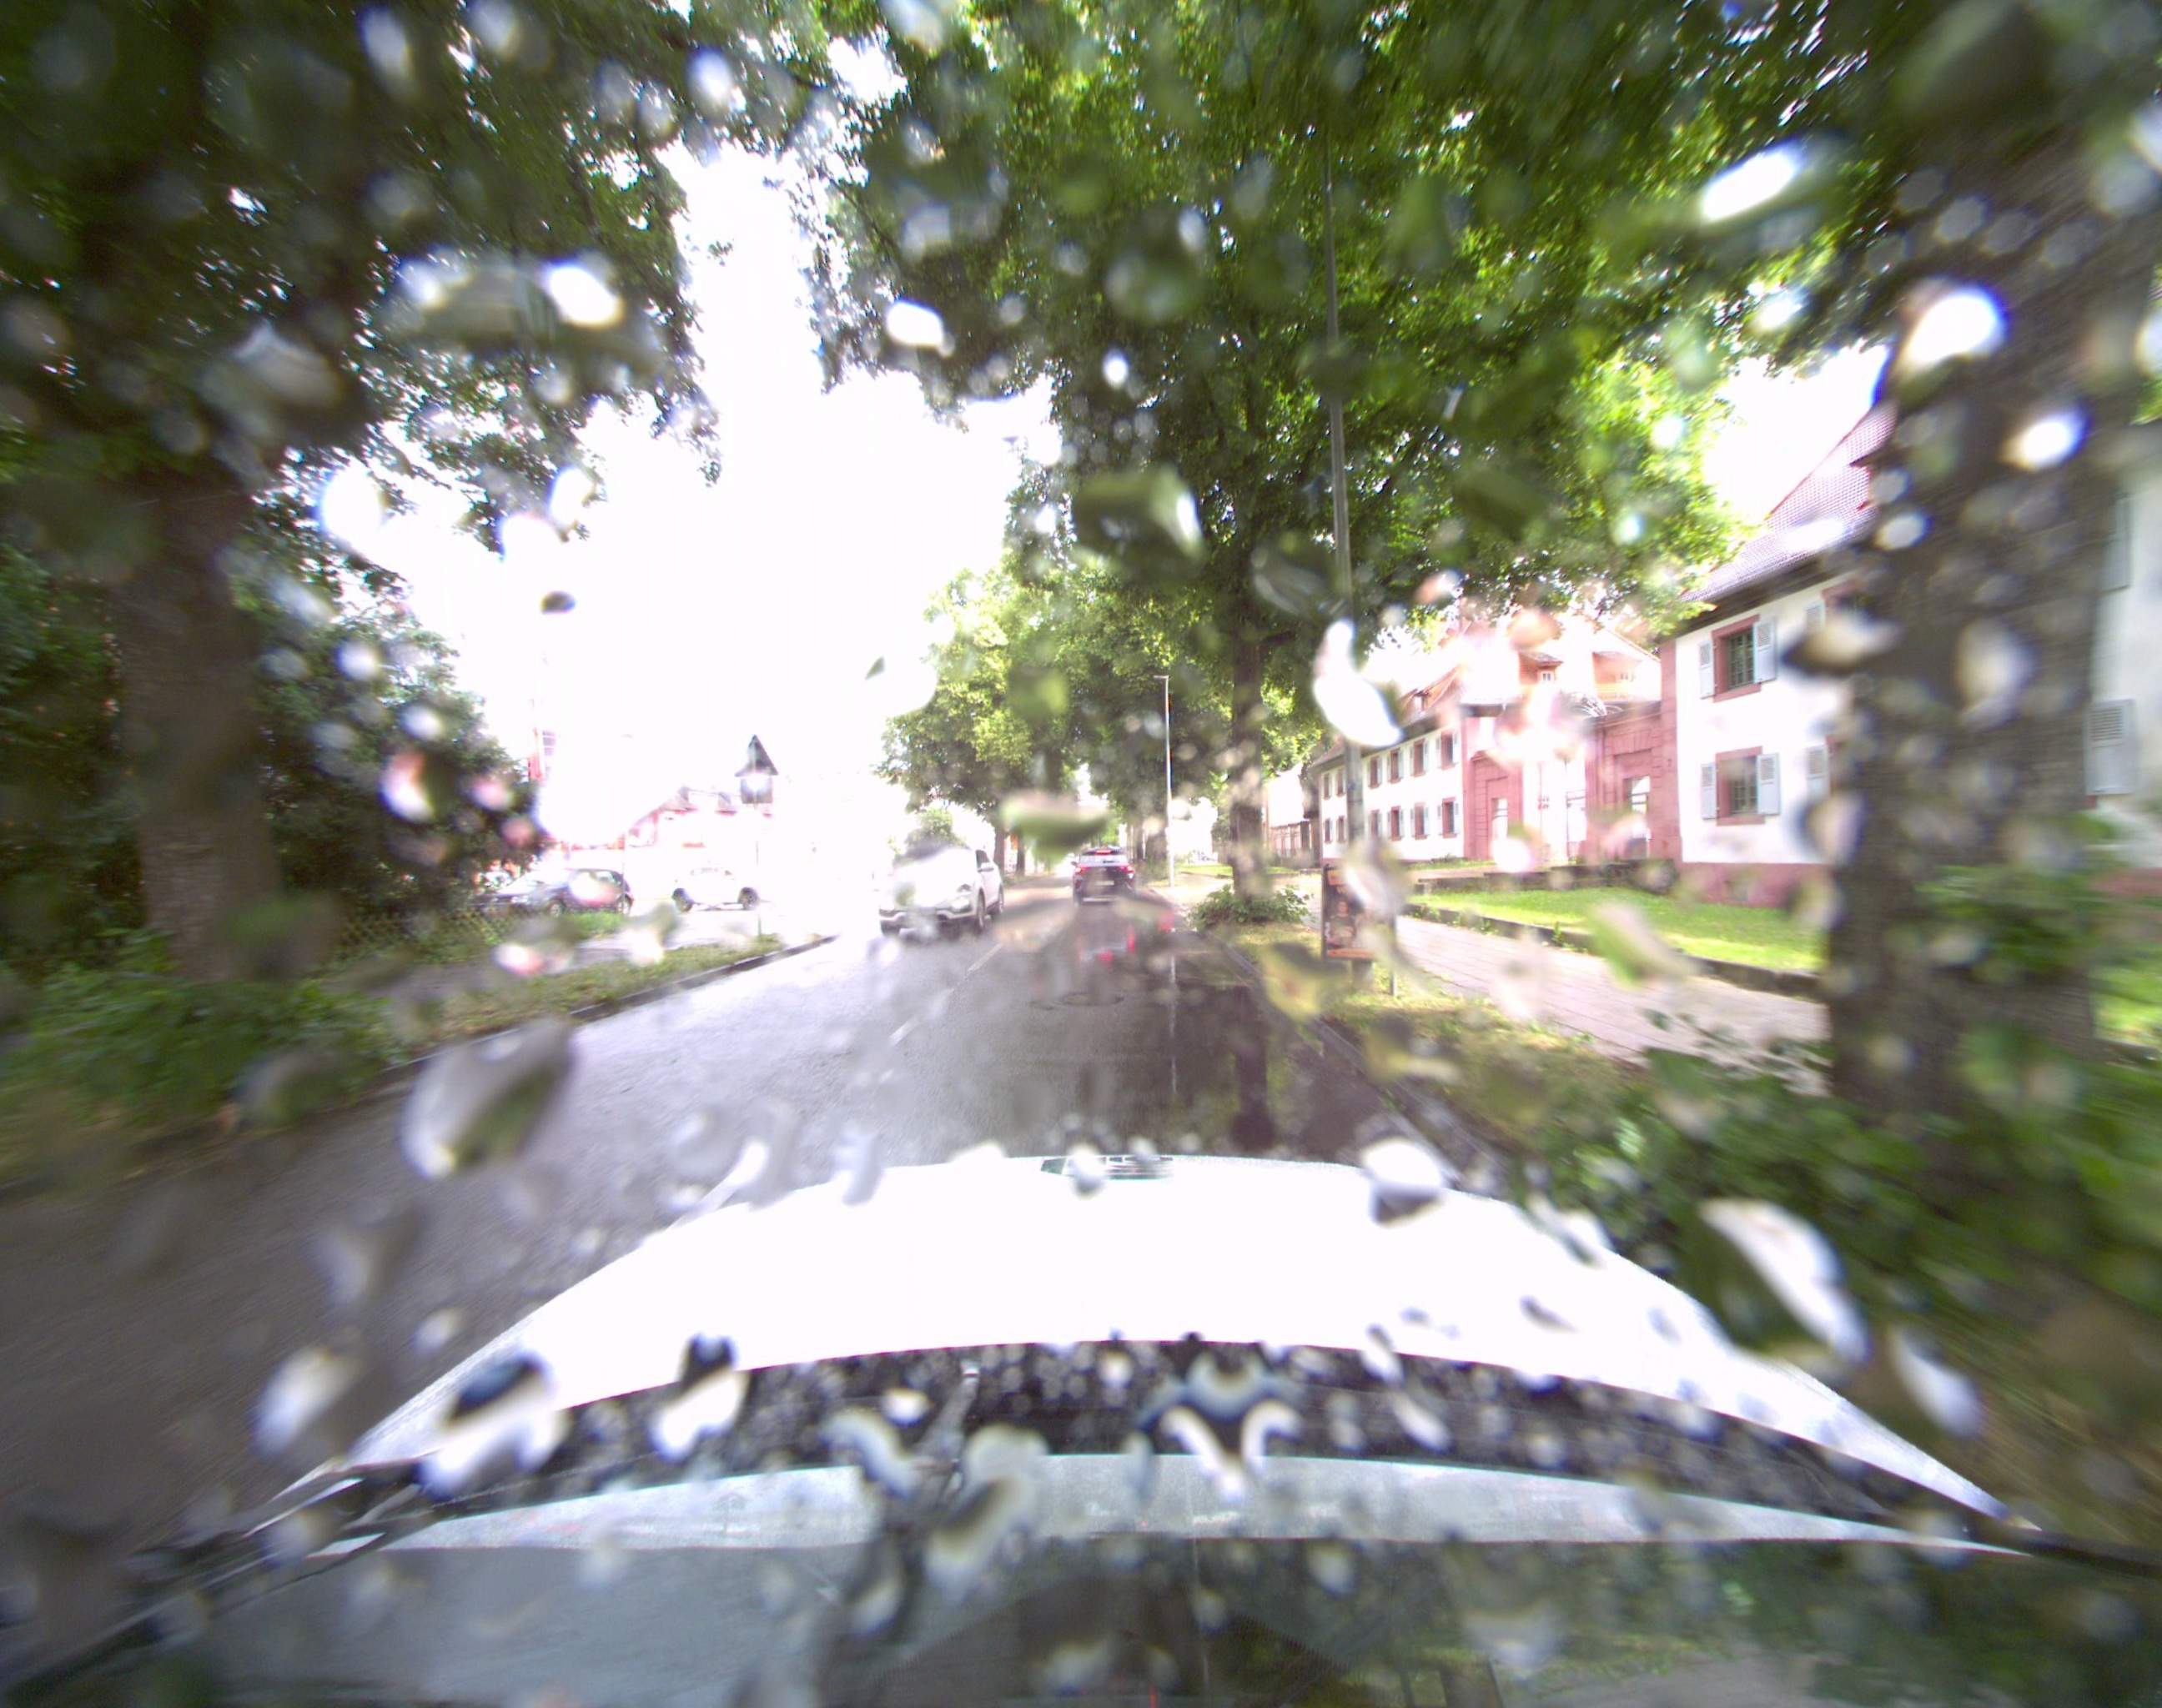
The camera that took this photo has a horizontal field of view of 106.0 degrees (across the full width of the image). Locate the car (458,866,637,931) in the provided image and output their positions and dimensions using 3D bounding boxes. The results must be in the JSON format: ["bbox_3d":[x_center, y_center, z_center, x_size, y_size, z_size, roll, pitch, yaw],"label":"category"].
[{"bbox_3d":[-12.743,1.031,19.774,1.617,1.420,3.872,0,-2,3],"label":"car"}]

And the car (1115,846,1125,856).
[{"bbox_3d":[8.119,-0.628,169.593,1.984,2.014,4.004,-2,-2,4],"label":"car"}]

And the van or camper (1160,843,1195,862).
[{"bbox_3d":[14.700,-0.218,123.776,5.015,2.596,2.168,-2,0,0],"label":"van or camper"}]

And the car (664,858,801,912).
[{"bbox_3d":[-11.130,0.981,26.126,3.582,1.533,1.743,-2,0,10],"label":"car"}]

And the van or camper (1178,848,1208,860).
[{"bbox_3d":[19.400,0.012,141.138,4.855,1.925,2.132,-1,1,2],"label":"van or camper"}]

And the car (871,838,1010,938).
[{"bbox_3d":[-2.682,0.596,16.564,1.879,1.713,4.232,-2,0,2],"label":"car"}]

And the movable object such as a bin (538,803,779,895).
[{"bbox_3d":[-20.007,-0.240,38.937,9.769,4.115,3.369,-1,0,3],"label":"movable object such as a bin"}]

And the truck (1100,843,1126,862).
[{"bbox_3d":[4.690,-0.215,120.696,2.801,2.656,8.224,-1,1,-6],"label":"truck"}]

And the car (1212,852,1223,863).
[{"bbox_3d":[22.964,0.636,137.032,1.733,1.684,3.879,-4,-1,8],"label":"car"}]

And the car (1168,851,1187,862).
[{"bbox_3d":[18.109,0.406,152.474,3.385,1.781,1.765,-4,-1,10],"label":"car"}]

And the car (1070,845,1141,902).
[{"bbox_3d":[0.675,0.523,23.854,1.889,1.522,3.999,-1,0,0],"label":"car"}]
